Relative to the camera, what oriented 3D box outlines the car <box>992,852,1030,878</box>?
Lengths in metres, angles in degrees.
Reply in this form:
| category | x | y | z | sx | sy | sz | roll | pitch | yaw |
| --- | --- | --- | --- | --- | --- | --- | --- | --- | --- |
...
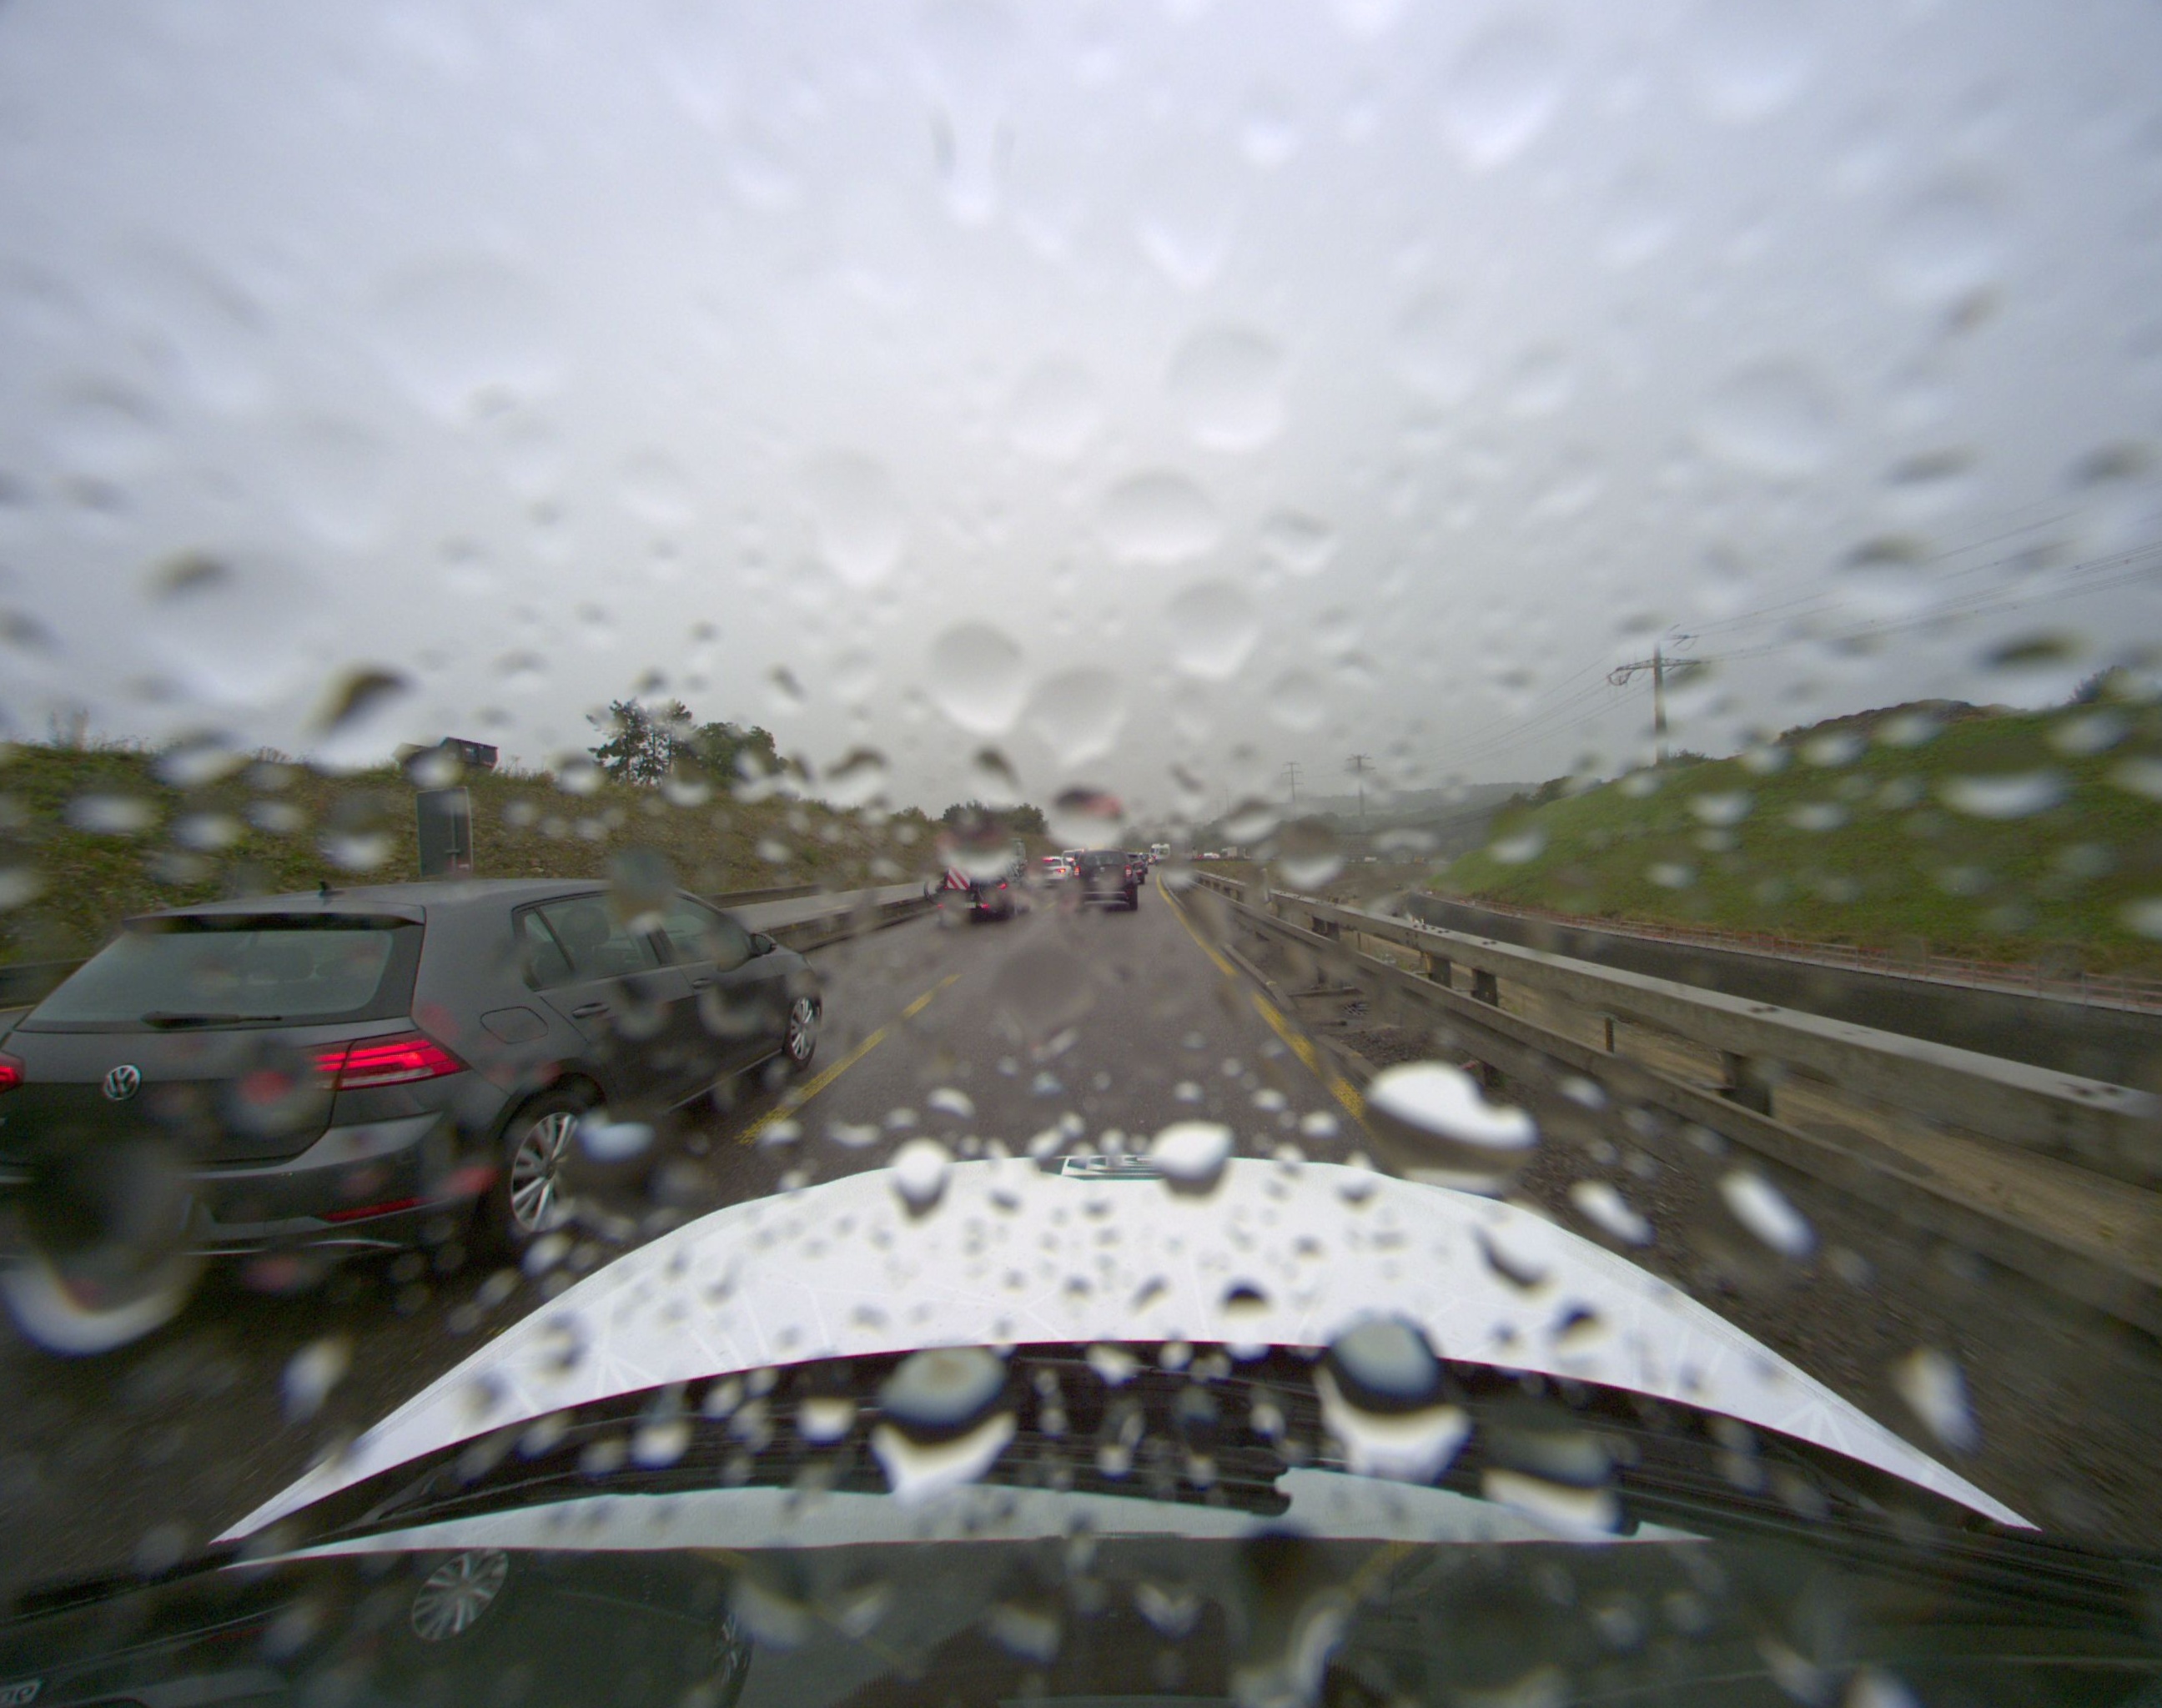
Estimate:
| category | x | y | z | sx | sy | sz | roll | pitch | yaw |
| --- | --- | --- | --- | --- | --- | --- | --- | --- | --- |
| car | -4.184 | 0.627 | 49.032 | 1.706 | 1.536 | 4.050 | 0 | 0 | 3 |

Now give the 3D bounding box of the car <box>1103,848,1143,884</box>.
| category | x | y | z | sx | sy | sz | roll | pitch | yaw |
| --- | --- | --- | --- | --- | --- | --- | --- | --- | --- |
| car | 2.138 | 0.563 | 40.440 | 1.859 | 1.708 | 4.005 | 0 | 0 | 4 |

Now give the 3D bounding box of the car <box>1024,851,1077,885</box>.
| category | x | y | z | sx | sy | sz | roll | pitch | yaw |
| --- | --- | --- | --- | --- | --- | --- | --- | --- | --- |
| car | -1.331 | 0.603 | 37.770 | 1.858 | 1.460 | 4.555 | 0 | 0 | 5 |

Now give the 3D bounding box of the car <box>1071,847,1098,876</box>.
| category | x | y | z | sx | sy | sz | roll | pitch | yaw |
| --- | --- | --- | --- | --- | --- | --- | --- | --- | --- |
| car | 0.244 | 0.471 | 55.057 | 1.653 | 1.880 | 4.022 | 0 | 0 | 2 |

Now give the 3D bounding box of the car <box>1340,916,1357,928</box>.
| category | x | y | z | sx | sy | sz | roll | pitch | yaw |
| --- | --- | --- | --- | --- | --- | --- | --- | --- | --- |
| car | 51.900 | 13.137 | 158.038 | 2.353 | 2.013 | 4.007 | 0 | 0 | 6 |

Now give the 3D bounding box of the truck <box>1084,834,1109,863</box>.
| category | x | y | z | sx | sy | sz | roll | pitch | yaw |
| --- | --- | --- | --- | --- | --- | --- | --- | --- | --- |
| truck | 2.357 | -0.756 | 118.963 | 2.753 | 3.996 | 8.439 | -1 | 0 | 7 |

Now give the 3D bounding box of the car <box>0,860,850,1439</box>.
| category | x | y | z | sx | sy | sz | roll | pitch | yaw |
| --- | --- | --- | --- | --- | --- | --- | --- | --- | --- |
| car | -2.779 | 0.842 | 4.417 | 1.608 | 1.506 | 4.370 | -2 | 0 | 2 |

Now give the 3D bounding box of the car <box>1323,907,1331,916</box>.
| category | x | y | z | sx | sy | sz | roll | pitch | yaw |
| --- | --- | --- | --- | --- | --- | --- | --- | --- | --- |
| car | 65.496 | 15.357 | 216.760 | 1.977 | 2.013 | 4.019 | 0 | 0 | 19 |

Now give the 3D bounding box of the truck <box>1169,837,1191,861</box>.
| category | x | y | z | sx | sy | sz | roll | pitch | yaw |
| --- | --- | --- | --- | --- | --- | --- | --- | --- | --- |
| truck | 16.321 | -0.837 | 133.999 | 3.181 | 3.761 | 8.532 | 0 | 0 | 10 |

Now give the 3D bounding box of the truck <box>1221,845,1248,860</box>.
| category | x | y | z | sx | sy | sz | roll | pitch | yaw |
| --- | --- | --- | --- | --- | --- | --- | --- | --- | --- |
| truck | 42.554 | -0.429 | 225.030 | 4.678 | 4.150 | 15.762 | 0 | 0 | 20 |

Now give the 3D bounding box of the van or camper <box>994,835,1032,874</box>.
| category | x | y | z | sx | sy | sz | roll | pitch | yaw |
| --- | --- | --- | --- | --- | --- | --- | --- | --- | --- |
| van or camper | -5.174 | 0.019 | 62.941 | 2.091 | 2.817 | 5.949 | 0 | 0 | 4 |

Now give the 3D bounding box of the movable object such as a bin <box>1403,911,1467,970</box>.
| category | x | y | z | sx | sy | sz | roll | pitch | yaw |
| --- | --- | --- | --- | --- | --- | --- | --- | --- | --- |
| movable object such as a bin | 26.724 | 6.463 | 61.689 | 3.200 | 3.867 | 4.127 | 1 | 1 | 4 |

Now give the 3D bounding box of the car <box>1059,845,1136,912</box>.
| category | x | y | z | sx | sy | sz | roll | pitch | yaw |
| --- | --- | --- | --- | --- | --- | --- | --- | --- | --- |
| car | 0.534 | 0.624 | 22.482 | 1.795 | 1.646 | 3.782 | -1 | 0 | 6 |

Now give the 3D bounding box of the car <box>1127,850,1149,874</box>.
| category | x | y | z | sx | sy | sz | roll | pitch | yaw |
| --- | --- | --- | --- | --- | --- | --- | --- | --- | --- |
| car | 4.213 | 0.564 | 59.911 | 1.523 | 1.640 | 4.018 | 0 | 0 | 5 |

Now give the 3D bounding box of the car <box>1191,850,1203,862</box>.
| category | x | y | z | sx | sy | sz | roll | pitch | yaw |
| --- | --- | --- | --- | --- | --- | --- | --- | --- | --- |
| car | 18.918 | 0.369 | 132.683 | 1.764 | 1.916 | 4.011 | 0 | 0 | 10 |

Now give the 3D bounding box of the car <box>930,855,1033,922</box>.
| category | x | y | z | sx | sy | sz | roll | pitch | yaw |
| --- | --- | --- | --- | --- | --- | --- | --- | --- | --- |
| car | -2.339 | 0.774 | 20.123 | 1.821 | 1.476 | 3.780 | -1 | 0 | 3 |

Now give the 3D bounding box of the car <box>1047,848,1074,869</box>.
| category | x | y | z | sx | sy | sz | roll | pitch | yaw |
| --- | --- | --- | --- | --- | --- | --- | --- | --- | --- |
| car | -1.861 | 0.435 | 75.613 | 1.992 | 1.887 | 5.278 | 0 | 0 | 3 |

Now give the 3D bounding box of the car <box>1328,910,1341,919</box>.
| category | x | y | z | sx | sy | sz | roll | pitch | yaw |
| --- | --- | --- | --- | --- | --- | --- | --- | --- | --- |
| car | 54.663 | 13.053 | 175.619 | 1.982 | 1.816 | 4.009 | -1 | 0 | 8 |

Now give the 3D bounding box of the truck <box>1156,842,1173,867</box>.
| category | x | y | z | sx | sy | sz | roll | pitch | yaw |
| --- | --- | --- | --- | --- | --- | --- | --- | --- | --- |
| truck | 10.891 | 0.018 | 106.666 | 2.138 | 3.166 | 6.470 | 0 | 0 | 6 |
